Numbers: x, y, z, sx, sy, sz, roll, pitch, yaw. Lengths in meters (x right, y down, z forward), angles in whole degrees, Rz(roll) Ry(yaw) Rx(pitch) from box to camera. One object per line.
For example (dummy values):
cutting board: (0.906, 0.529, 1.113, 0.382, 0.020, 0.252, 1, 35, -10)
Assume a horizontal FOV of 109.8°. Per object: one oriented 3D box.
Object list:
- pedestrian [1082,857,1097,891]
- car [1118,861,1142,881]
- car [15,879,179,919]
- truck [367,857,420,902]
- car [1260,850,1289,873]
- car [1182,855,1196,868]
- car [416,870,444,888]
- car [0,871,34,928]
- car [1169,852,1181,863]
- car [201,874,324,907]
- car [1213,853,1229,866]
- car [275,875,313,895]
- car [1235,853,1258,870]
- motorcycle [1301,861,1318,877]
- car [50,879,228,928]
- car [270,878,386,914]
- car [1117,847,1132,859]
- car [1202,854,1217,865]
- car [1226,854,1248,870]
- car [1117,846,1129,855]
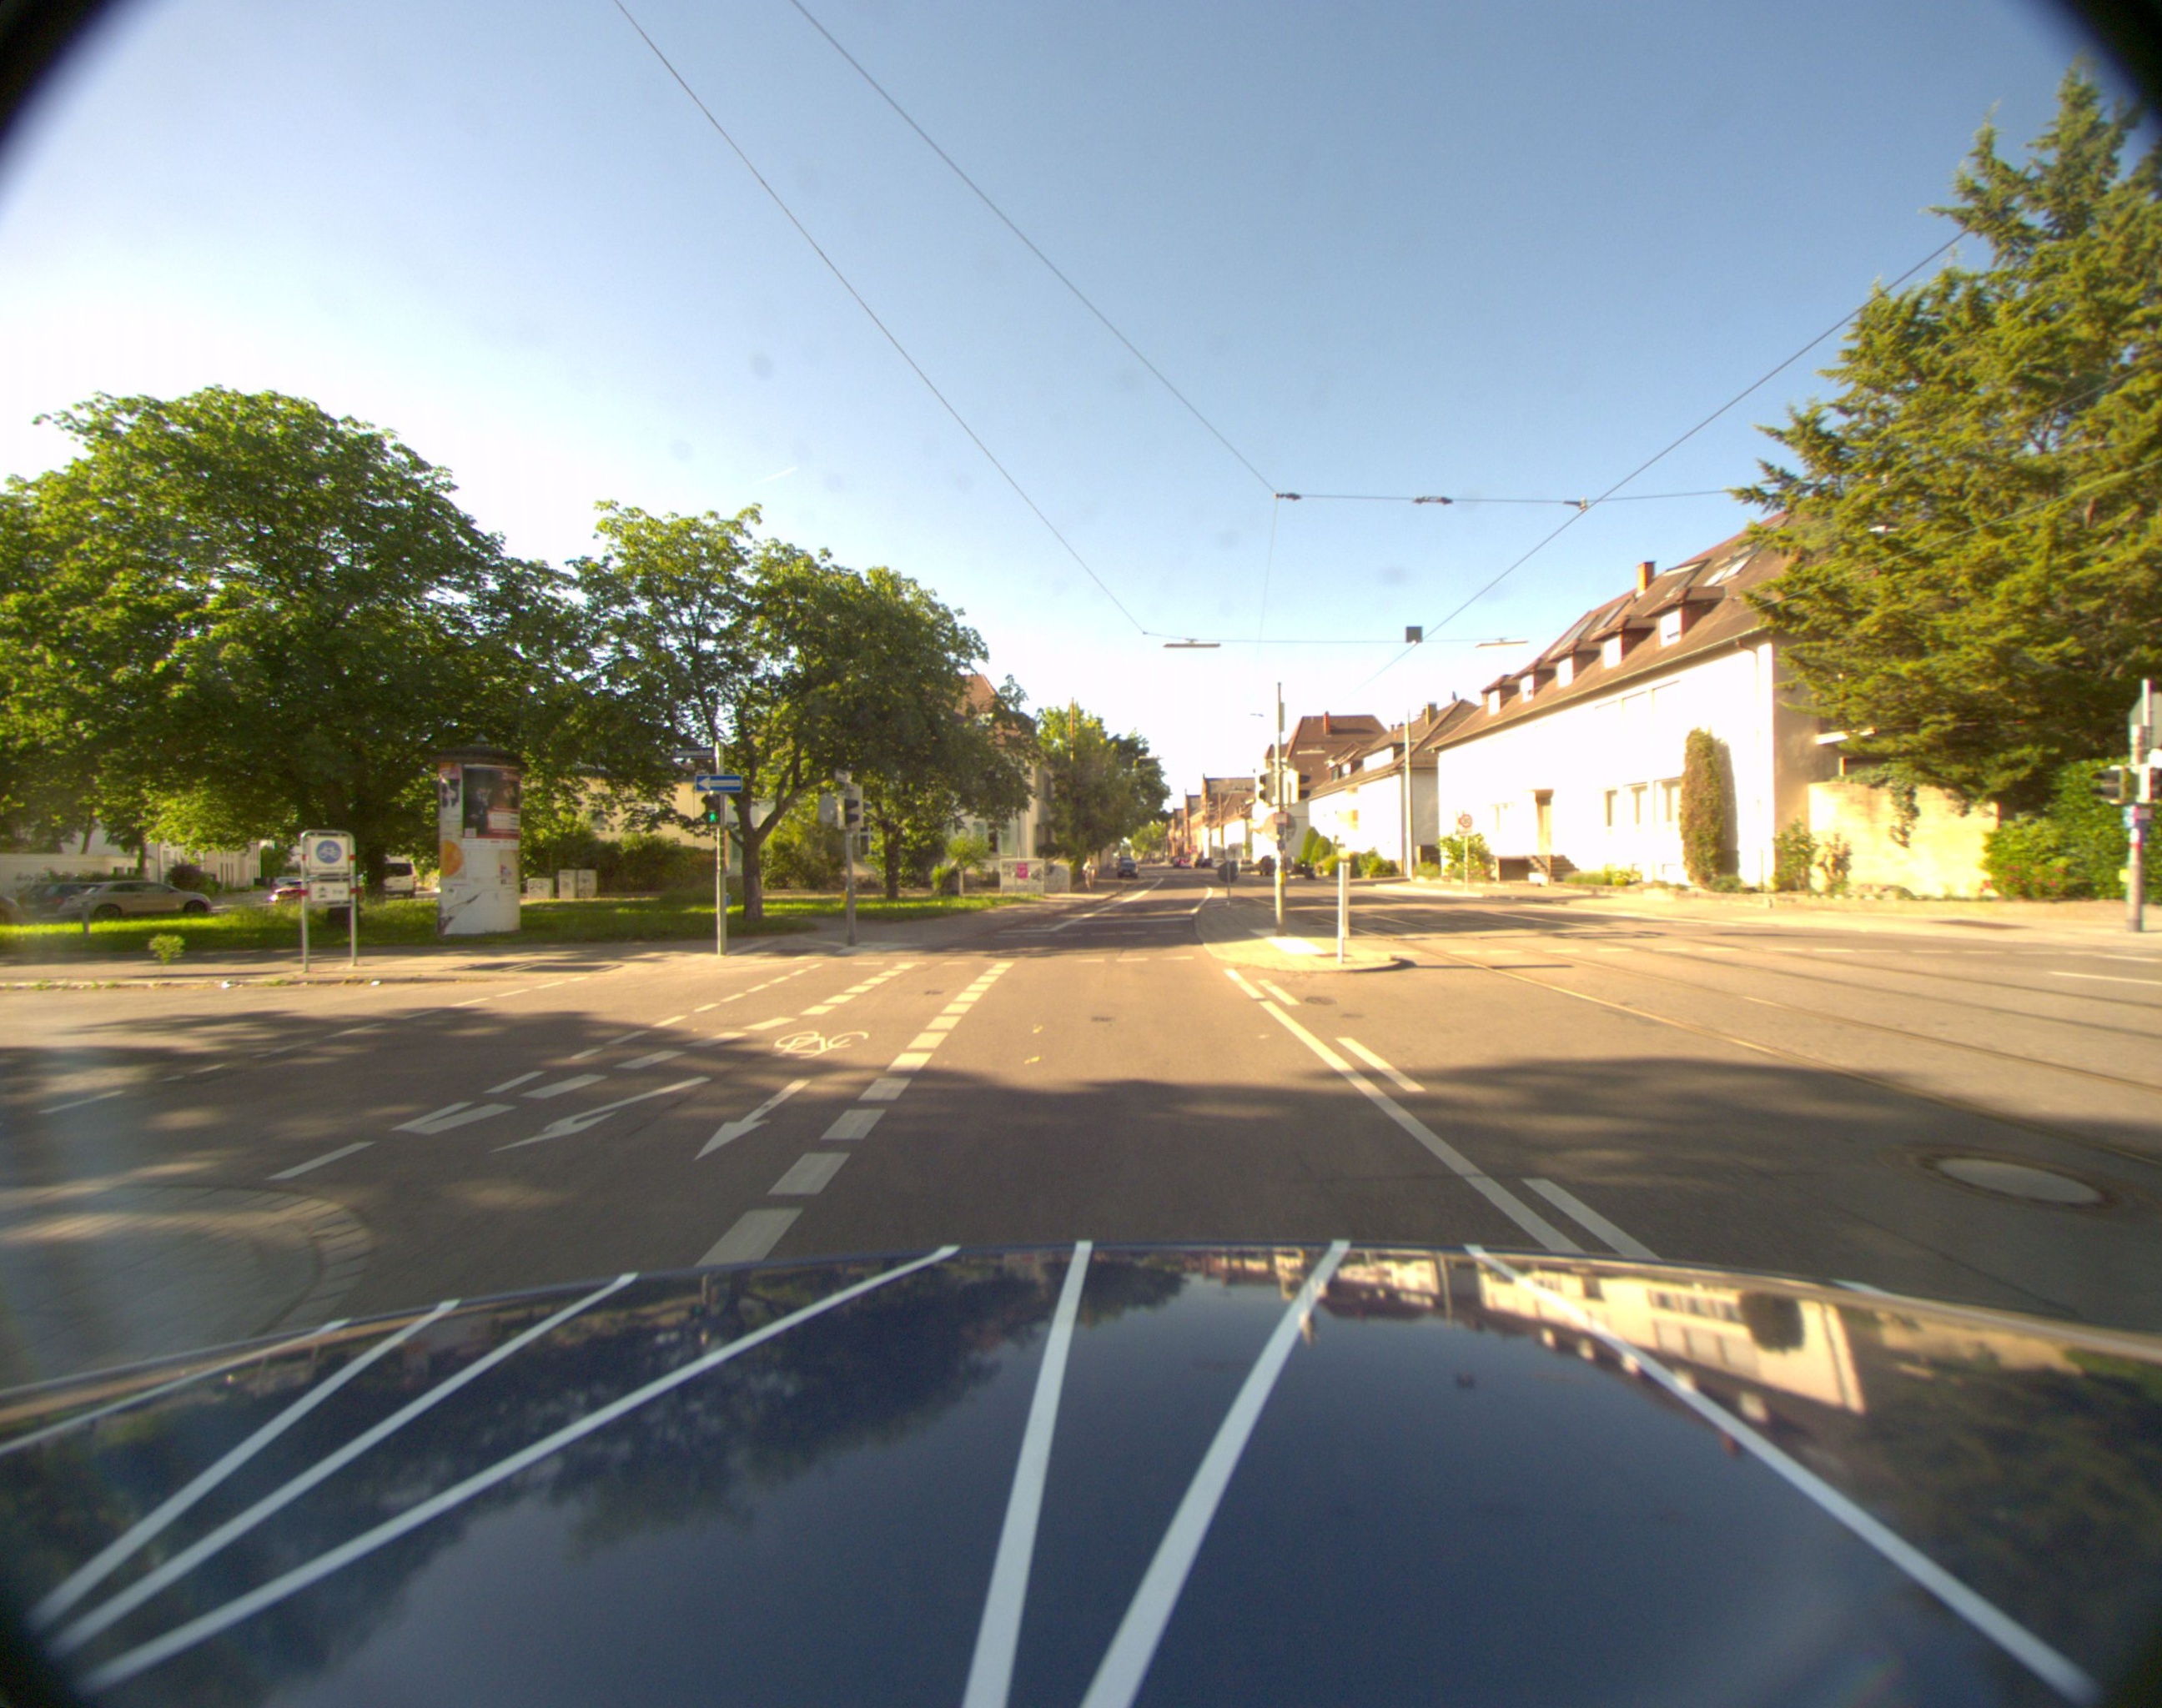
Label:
pedestrian: (0.447, 0.987, 37.817, 0.654, 1.664, 0.943, 0, 0, 5)
car: (4.327, 1.473, 66.240, 1.704, 1.541, 4.003, -3, -1, 8)
car: (-41.872, 1.869, 32.488, 1.757, 1.462, 3.899, -1, 0, 8)
truck: (-41.681, 1.514, 46.026, 4.966, 2.561, 2.004, -1, 0, 44)
car: (17.375, 0.685, 68.400, 1.923, 1.889, 4.002, -3, 0, 6)
car: (16.011, 1.082, 112.356, 1.923, 1.704, 4.002, -3, 0, 7)
car: (-54.495, 2.083, 63.591, 1.763, 1.462, 3.886, -1, 0, -41)
car: (-36.200, 1.485, 23.315, 1.921, 1.825, 4.344, -1, 0, 8)
car: (15.280, 0.583, 123.532, 1.923, 1.704, 4.002, -3, 0, 7)
car: (-40.733, 1.764, 37.958, 1.757, 1.462, 3.898, -1, 0, 5)
car: (19.122, 0.757, 104.058, 1.923, 1.555, 4.002, -3, -1, 7)
car: (-62.508, 2.446, 60.392, 1.763, 1.462, 3.886, -1, 0, -41)
car: (18.044, 0.822, 82.976, 1.923, 1.704, 4.001, -3, 0, 4)
motorcycle: (16.066, 1.029, 53.394, 0.605, 1.040, 2.438, -3, 0, 5)
car: (-35.306, 1.812, 28.639, 1.920, 1.638, 3.717, -1, 0, 12)
car: (-34.909, 1.913, 35.402, 1.607, 1.525, 4.280, -1, -2, -8)
car: (6.085, -0.109, 106.686, 1.704, 1.541, 4.003, -3, -1, 8)
car: (20.056, 0.871, 118.909, 1.923, 1.704, 4.002, -3, -1, 5)
car: (18.229, 0.914, 89.135, 1.923, 1.704, 4.001, -3, 0, 4)
car: (7.727, -0.674, 139.461, 1.704, 1.541, 4.003, -3, -1, 8)
